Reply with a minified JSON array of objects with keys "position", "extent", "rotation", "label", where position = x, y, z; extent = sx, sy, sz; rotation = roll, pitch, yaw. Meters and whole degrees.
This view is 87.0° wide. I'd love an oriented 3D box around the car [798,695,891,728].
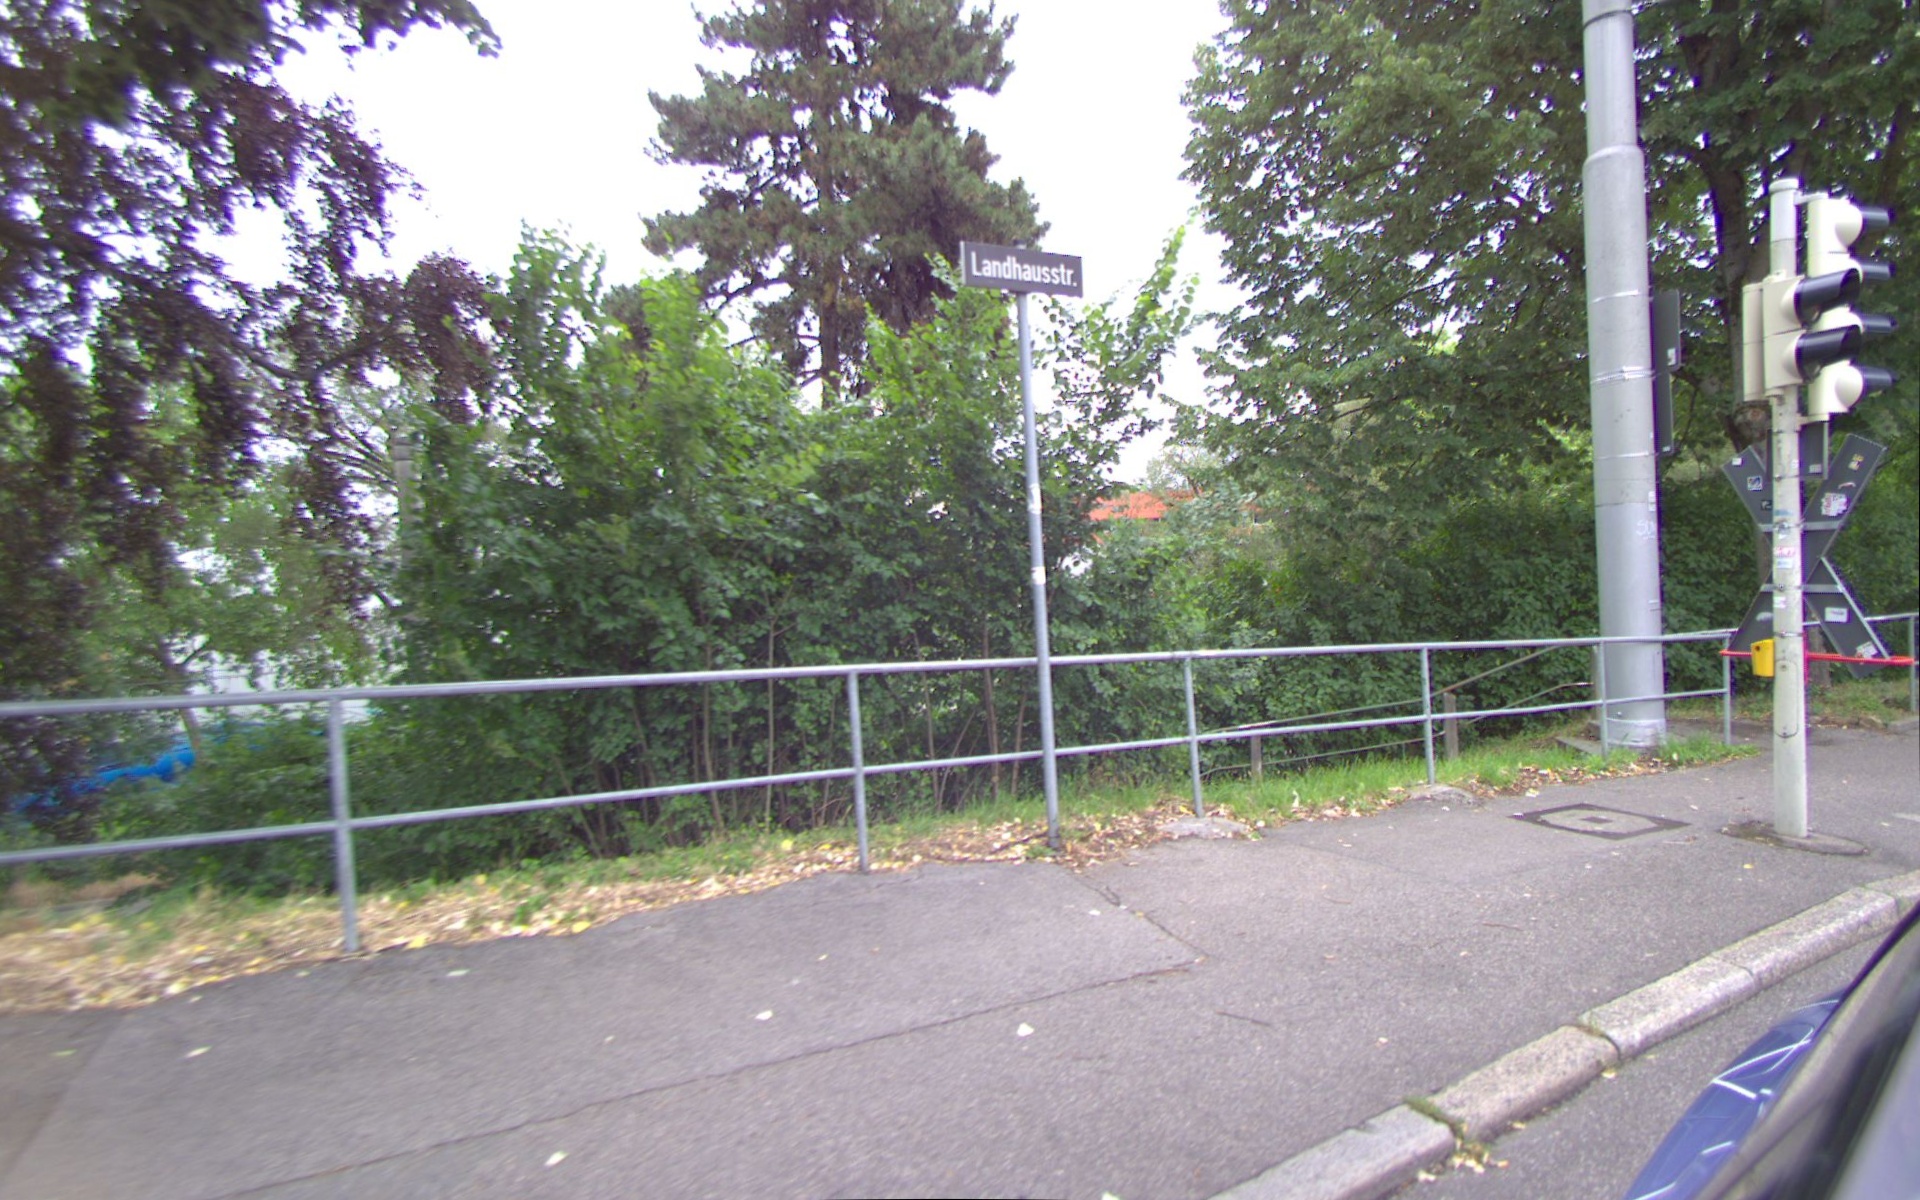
[{"position":[-5.965,5.788,52.591],"extent":[4.470,1.419,1.997],"rotation":[-1,1,6],"label":"car"}]
